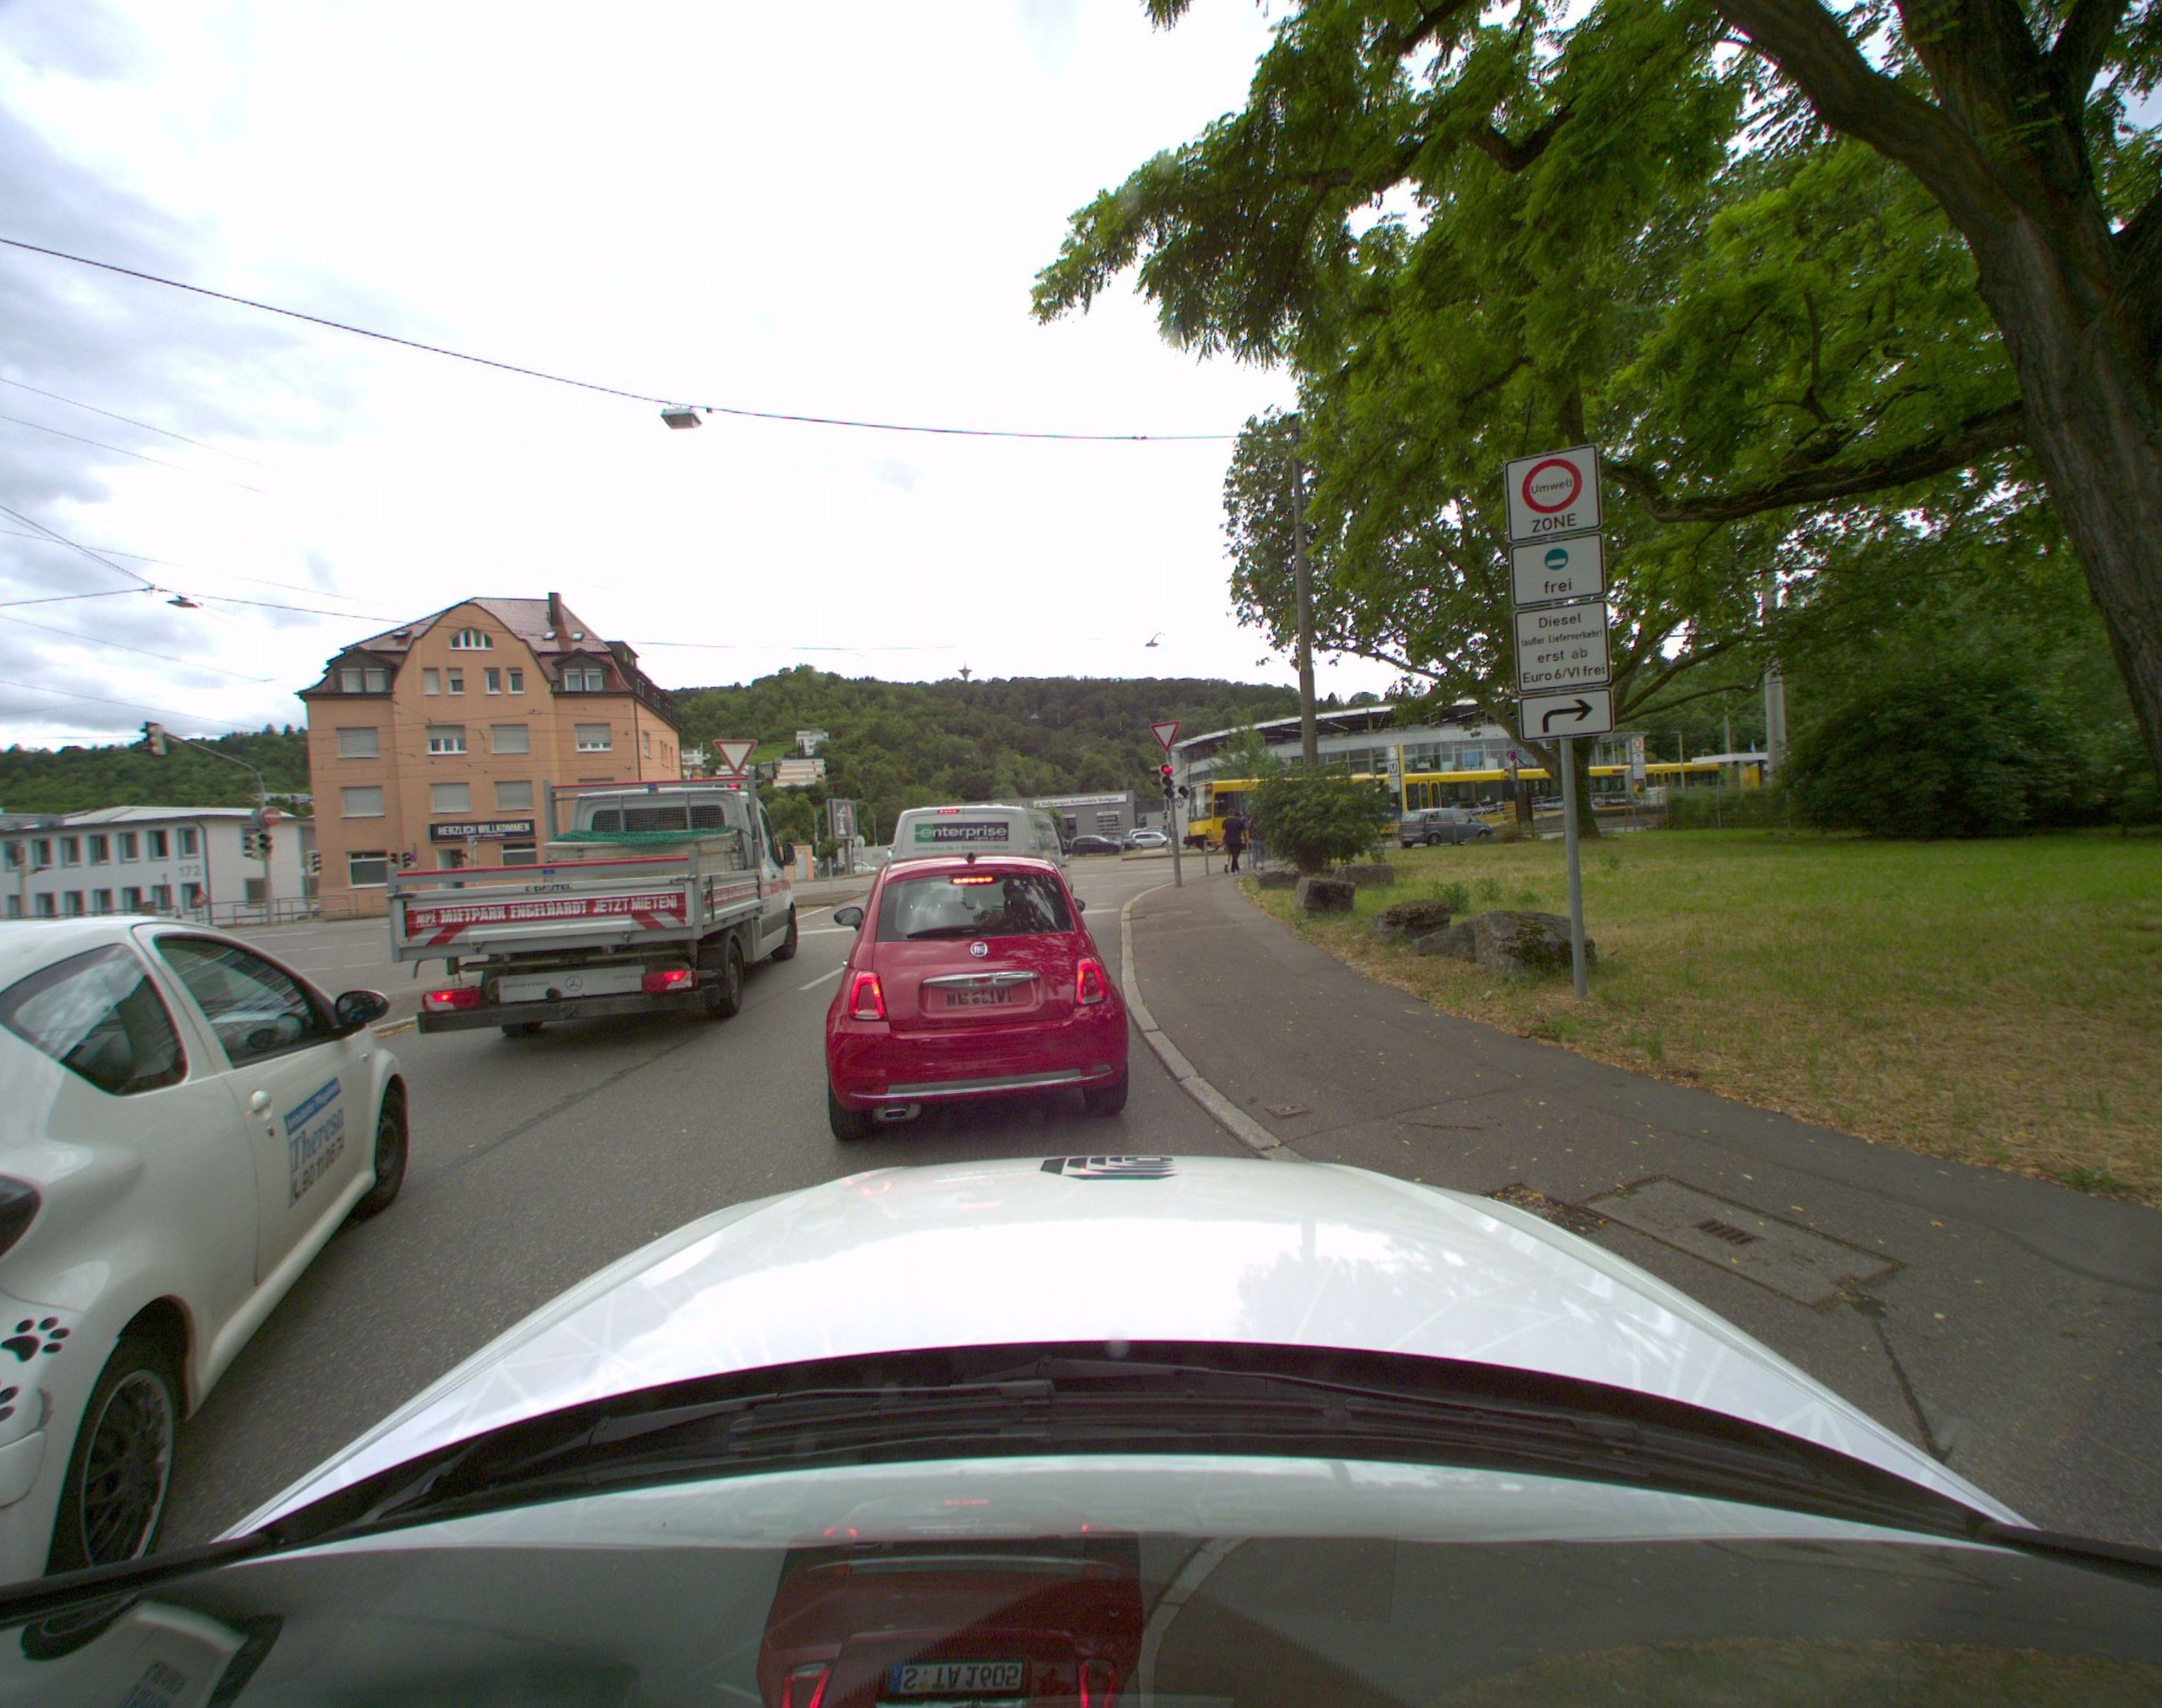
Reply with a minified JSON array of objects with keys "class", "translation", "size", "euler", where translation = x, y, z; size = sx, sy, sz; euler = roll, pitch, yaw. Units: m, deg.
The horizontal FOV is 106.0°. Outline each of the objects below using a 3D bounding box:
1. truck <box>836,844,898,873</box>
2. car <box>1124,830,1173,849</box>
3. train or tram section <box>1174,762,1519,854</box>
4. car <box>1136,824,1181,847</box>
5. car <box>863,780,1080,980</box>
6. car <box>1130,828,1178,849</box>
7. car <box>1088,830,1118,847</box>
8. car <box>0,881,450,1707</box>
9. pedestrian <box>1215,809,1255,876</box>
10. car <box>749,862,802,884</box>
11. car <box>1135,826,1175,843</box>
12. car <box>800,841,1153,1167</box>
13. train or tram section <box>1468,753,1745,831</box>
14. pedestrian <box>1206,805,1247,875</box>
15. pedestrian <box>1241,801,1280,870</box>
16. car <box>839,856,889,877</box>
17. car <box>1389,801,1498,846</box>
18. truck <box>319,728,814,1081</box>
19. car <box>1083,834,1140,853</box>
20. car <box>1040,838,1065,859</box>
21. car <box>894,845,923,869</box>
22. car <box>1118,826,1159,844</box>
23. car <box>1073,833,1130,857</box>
[{"class":"truck","translation":[-20.164,0.412,76.817],"size":[5.211,2.393,1.983],"euler":[-4,1,-26]},{"class":"car","translation":[6.705,-1.465,81.119],"size":[4.774,1.533,1.778],"euler":[-4,1,4]},{"class":"train or tram section","translation":[14.215,-2.517,42.344],"size":[19.184,3.665,3.255],"euler":[-4,1,-21]},{"class":"car","translation":[8.477,-2.051,89.547],"size":[4.774,2.156,2.237],"euler":[-4,1,4]},{"class":"car","translation":[-1.242,0.245,11.542],"size":[1.981,2.106,4.767],"euler":[-4,1,4]},{"class":"car","translation":[7.580,-1.623,84.647],"size":[4.774,1.802,1.778],"euler":[-4,1,4]},{"class":"car","translation":[2.744,-1.881,99.532],"size":[1.974,1.815,4.026],"euler":[-3,1,29]},{"class":"car","translation":[-3.312,0.884,2.463],"size":[1.649,1.432,3.398],"euler":[-5,1,-30]},{"class":"pedestrian","translation":[4.100,-0.324,21.682],"size":[0.686,1.714,0.793],"euler":[-4,1,32]},{"class":"car","translation":[-26.790,1.667,71.545],"size":[4.218,1.533,1.763],"euler":[-4,1,-20]},{"class":"car","translation":[9.182,-2.386,101.121],"size":[4.774,1.802,1.778],"euler":[-4,1,4]},{"class":"car","translation":[-0.743,0.695,5.671],"size":[1.638,1.456,3.420],"euler":[-3,1,-9]},{"class":"train or tram section","translation":[32.052,-3.857,49.131],"size":[19.184,3.665,3.255],"euler":[-4,1,-21]},{"class":"pedestrian","translation":[3.997,-0.400,22.362],"size":[0.686,1.857,0.793],"euler":[-4,1,36]},{"class":"pedestrian","translation":[4.734,-0.492,21.423],"size":[0.686,1.739,0.793],"euler":[-4,1,28]},{"class":"car","translation":[-19.592,1.124,73.626],"size":[4.209,1.533,1.767],"euler":[-4,1,-14]},{"class":"car","translation":[14.951,-1.246,33.598],"size":[3.888,1.584,1.791],"euler":[-4,1,-19]},{"class":"truck","translation":[-4.677,0.312,8.955],"size":[2.423,2.397,6.006],"euler":[-4,1,-11]},{"class":"car","translation":[2.656,-0.895,70.754],"size":[4.636,1.327,1.783],"euler":[-4,1,15]},{"class":"car","translation":[-2.725,-0.592,79.098],"size":[1.985,1.815,4.004],"euler":[-4,1,3]},{"class":"car","translation":[-14.548,0.250,68.932],"size":[1.858,1.817,4.392],"euler":[-4,1,-7]},{"class":"car","translation":[6.804,-2.230,96.279],"size":[4.774,1.802,1.778],"euler":[-4,1,4]},{"class":"car","translation":[1.526,-0.693,61.530],"size":[3.837,1.500,1.784],"euler":[-3,1,18]}]
